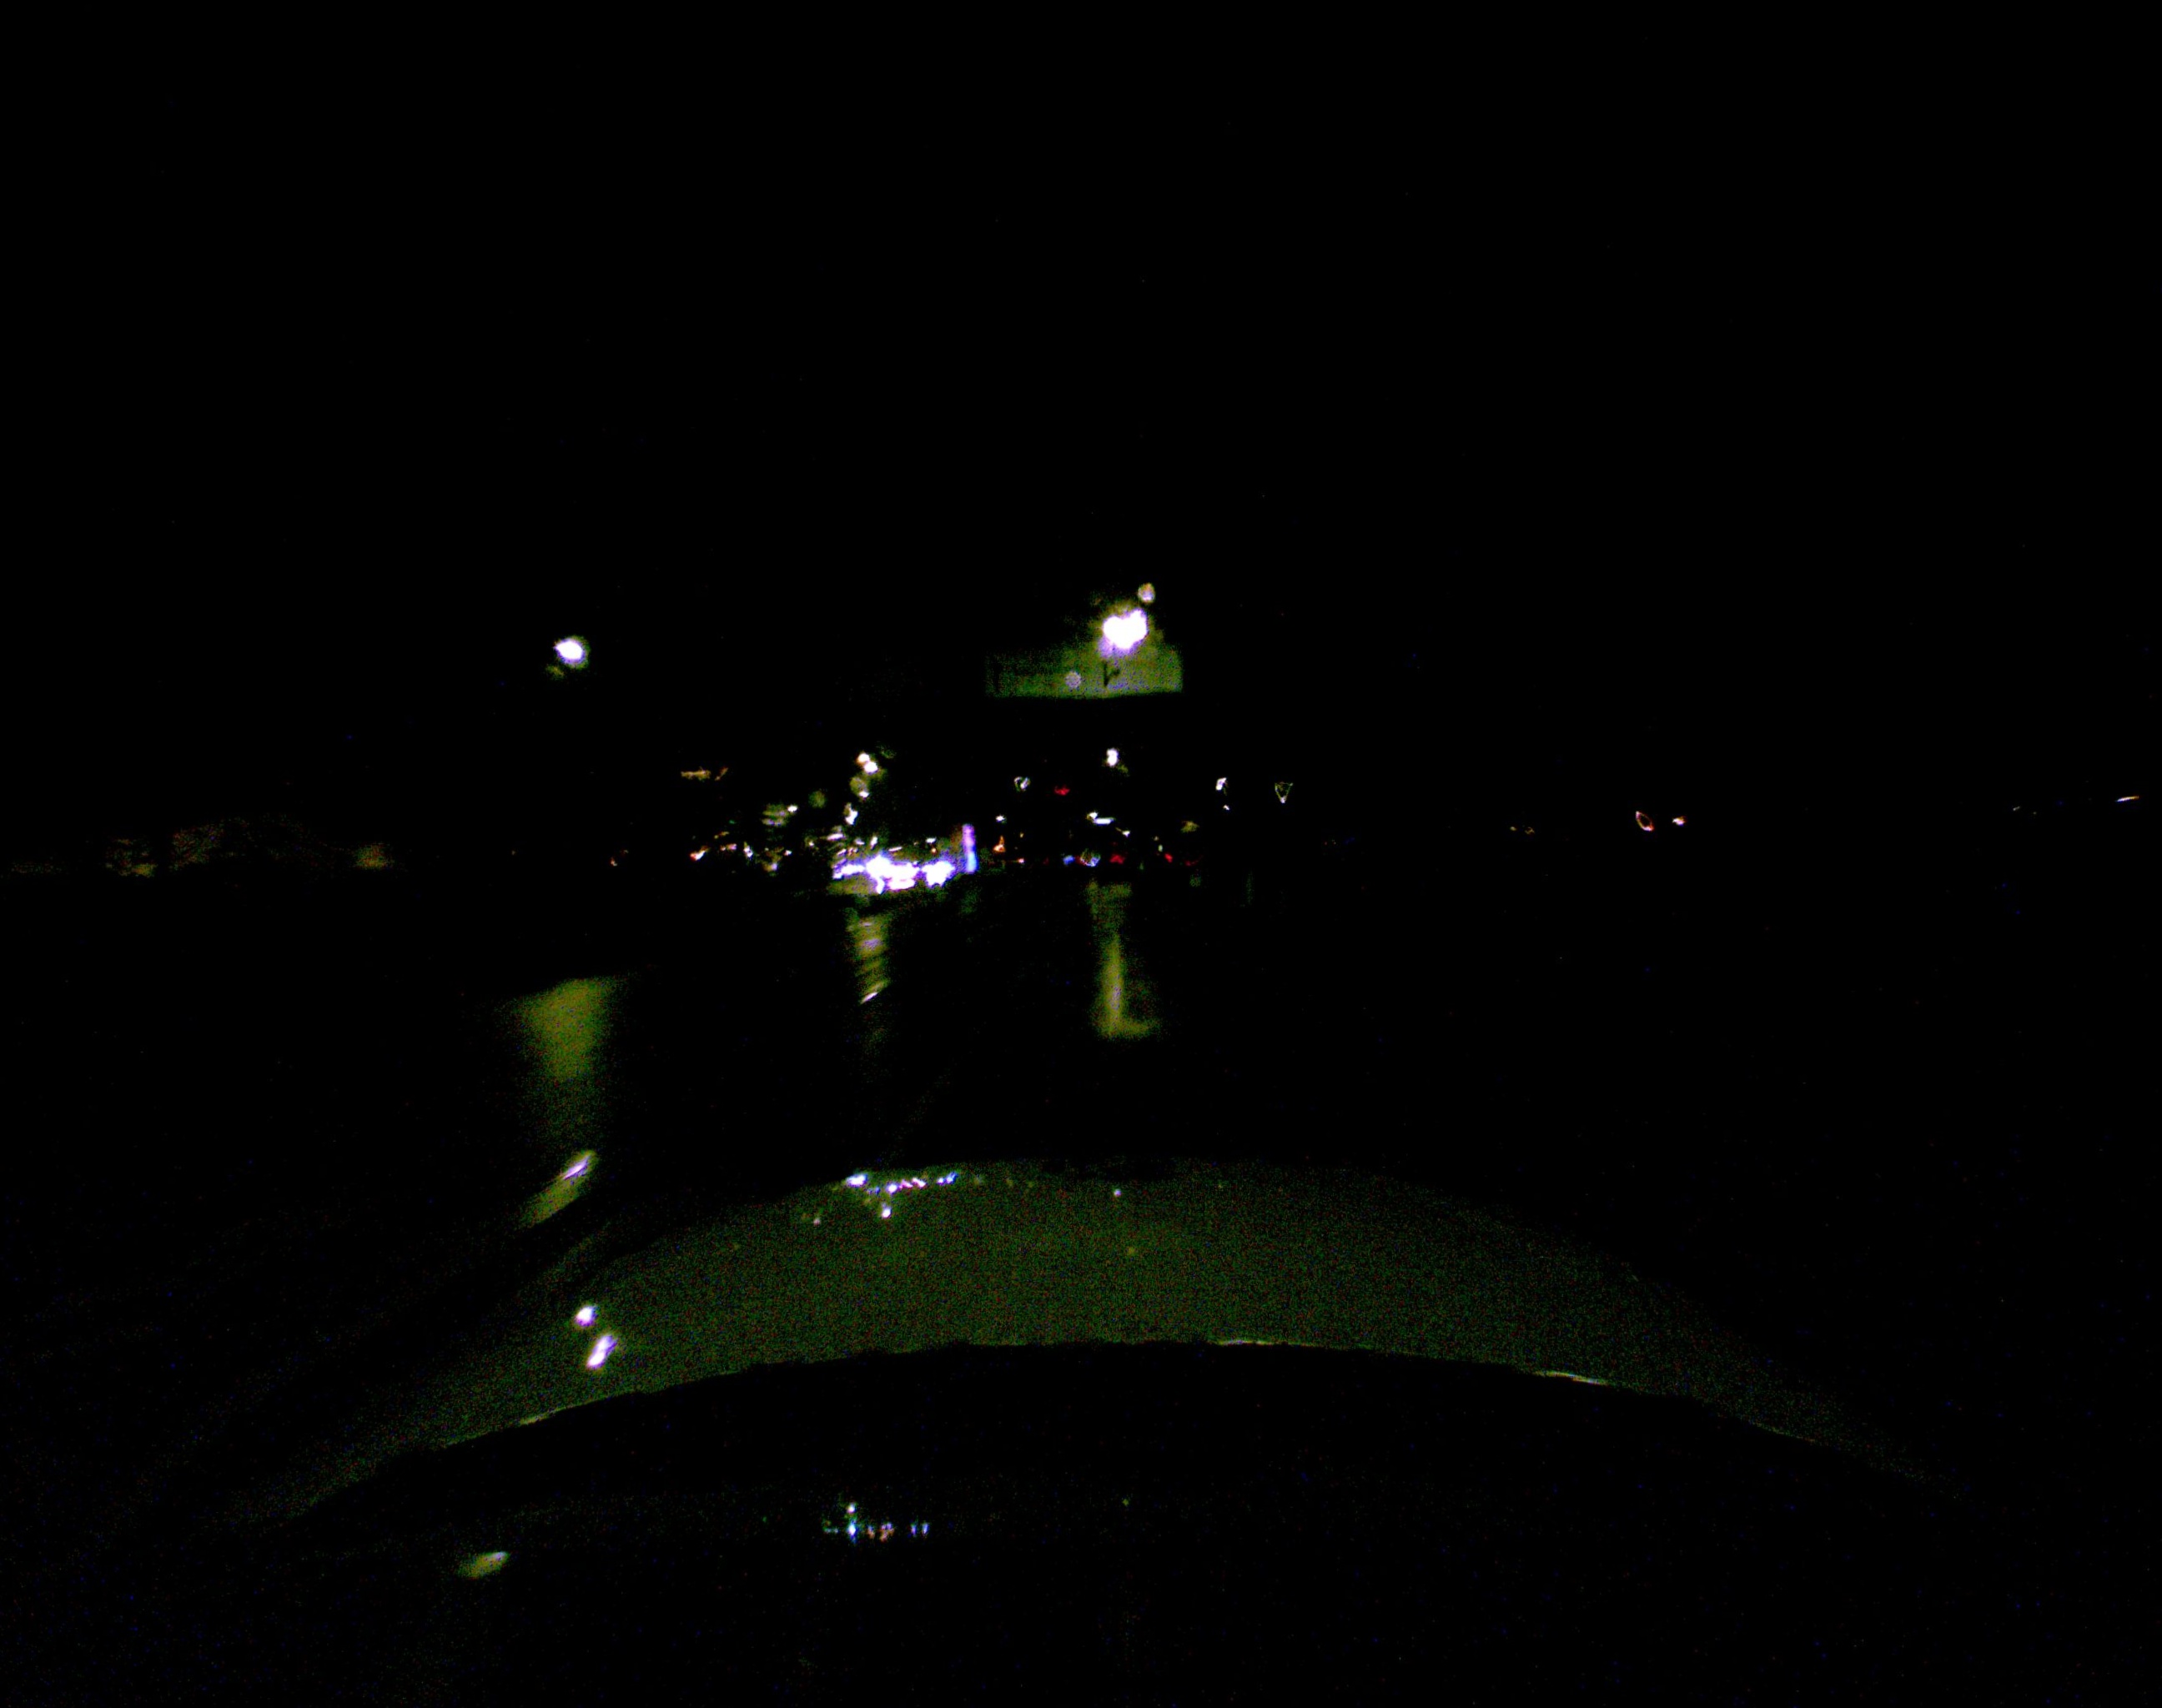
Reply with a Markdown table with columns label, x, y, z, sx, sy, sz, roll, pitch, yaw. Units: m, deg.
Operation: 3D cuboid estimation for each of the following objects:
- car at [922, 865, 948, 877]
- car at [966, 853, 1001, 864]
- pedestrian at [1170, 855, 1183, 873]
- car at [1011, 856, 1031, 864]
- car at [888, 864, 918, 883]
| label | x | y | z | sx | sy | sz | roll | pitch | yaw |
| --- | --- | --- | --- | --- | --- | --- | --- | --- | --- |
| car | -17.600 | 2.029 | 98.031 | 1.840 | 1.464 | 3.962 | 0 | 0 | -30 |
| car | -19.076 | 0.813 | 159.393 | 6.321 | 2.089 | 2.496 | -1 | 0 | -23 |
| pedestrian | 9.689 | 0.986 | 82.812 | 1.223 | 1.794 | 1.490 | -1 | 0 | 1 |
| car | -11.876 | 1.197 | 161.174 | 3.981 | 1.616 | 1.833 | -1 | 0 | -6 |
| car | -17.501 | 1.888 | 80.300 | 1.822 | 1.713 | 4.442 | -1 | 0 | 2 |
